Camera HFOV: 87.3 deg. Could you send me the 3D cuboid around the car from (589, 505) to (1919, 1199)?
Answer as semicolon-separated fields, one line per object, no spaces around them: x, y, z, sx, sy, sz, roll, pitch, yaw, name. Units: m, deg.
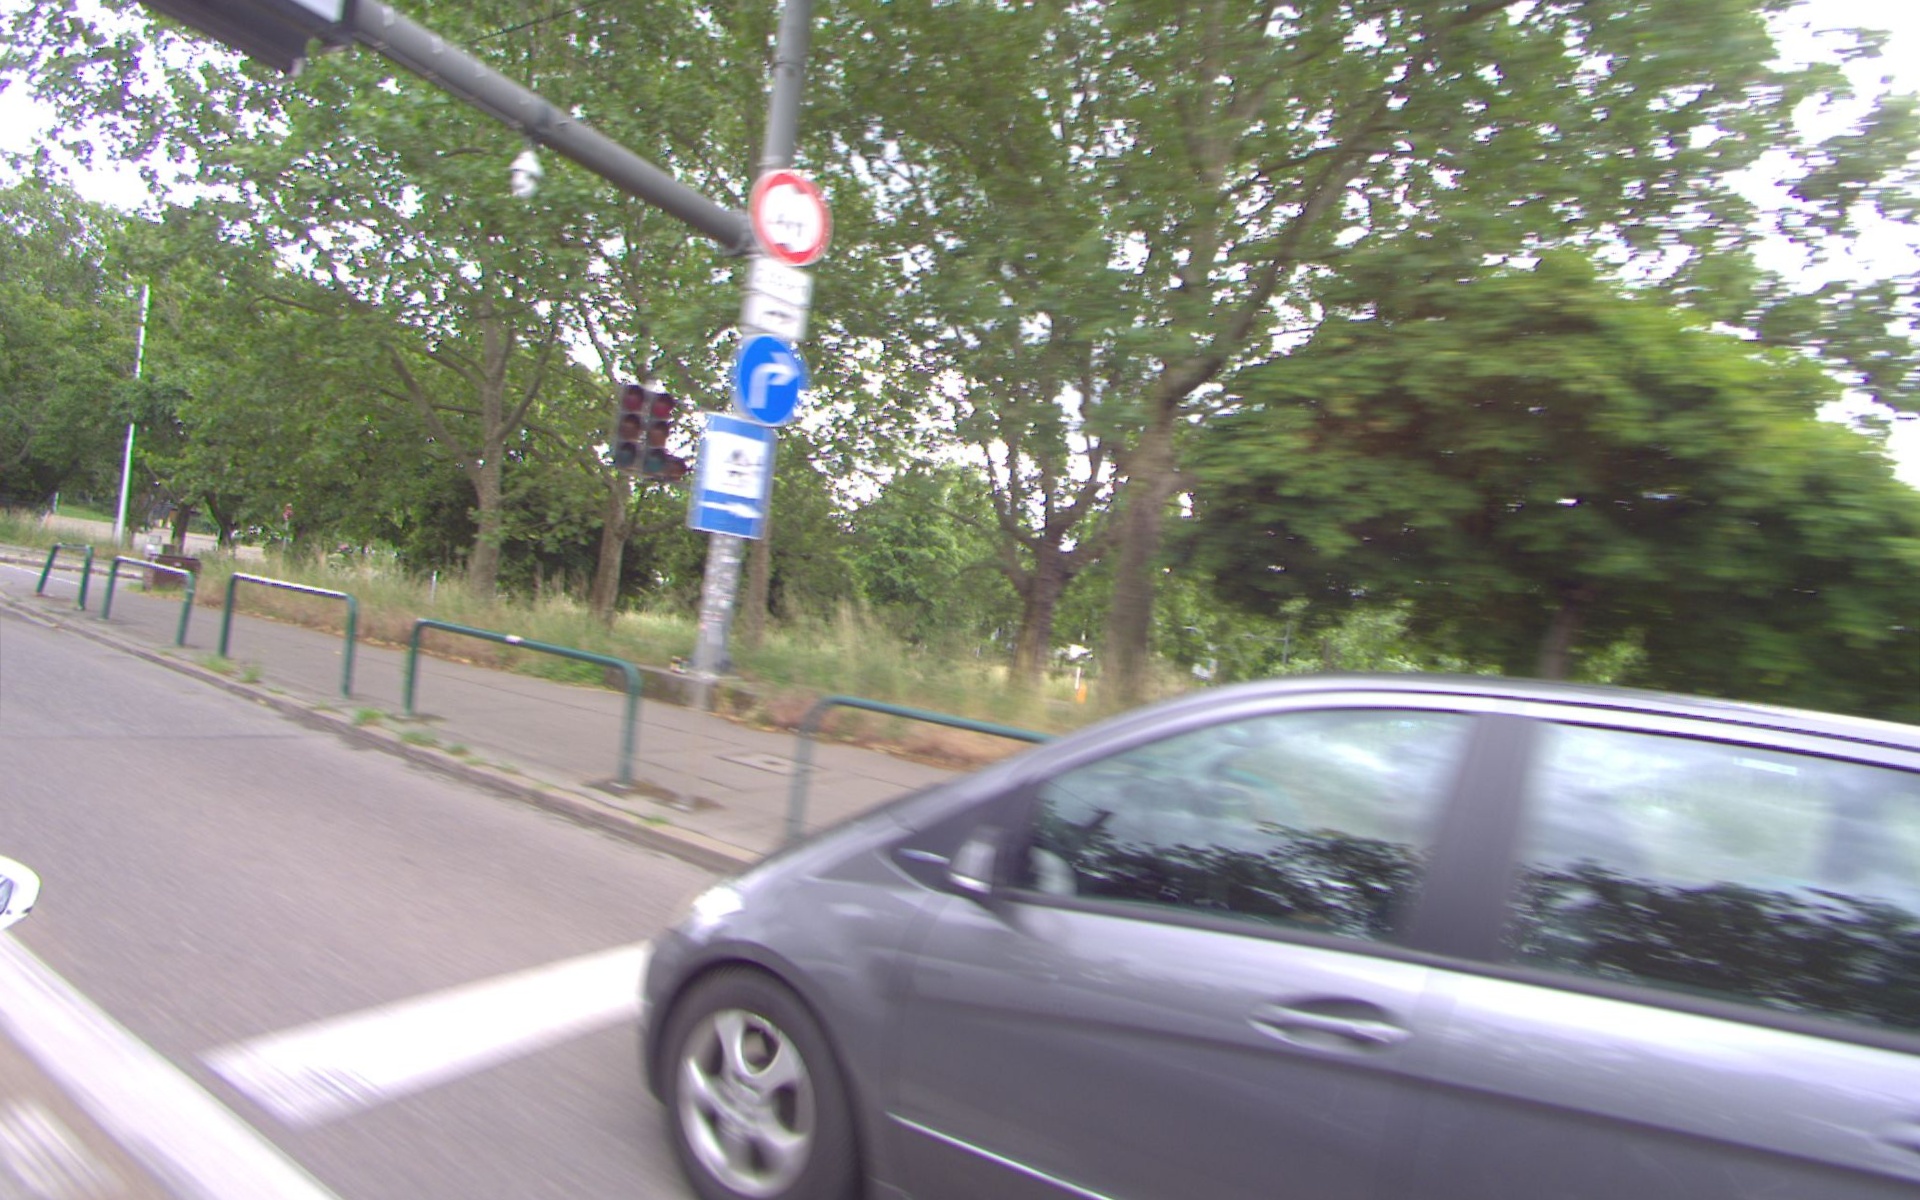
1.255;0.873;2.412;3.967;1.635;1.829;8;-1;32;car
